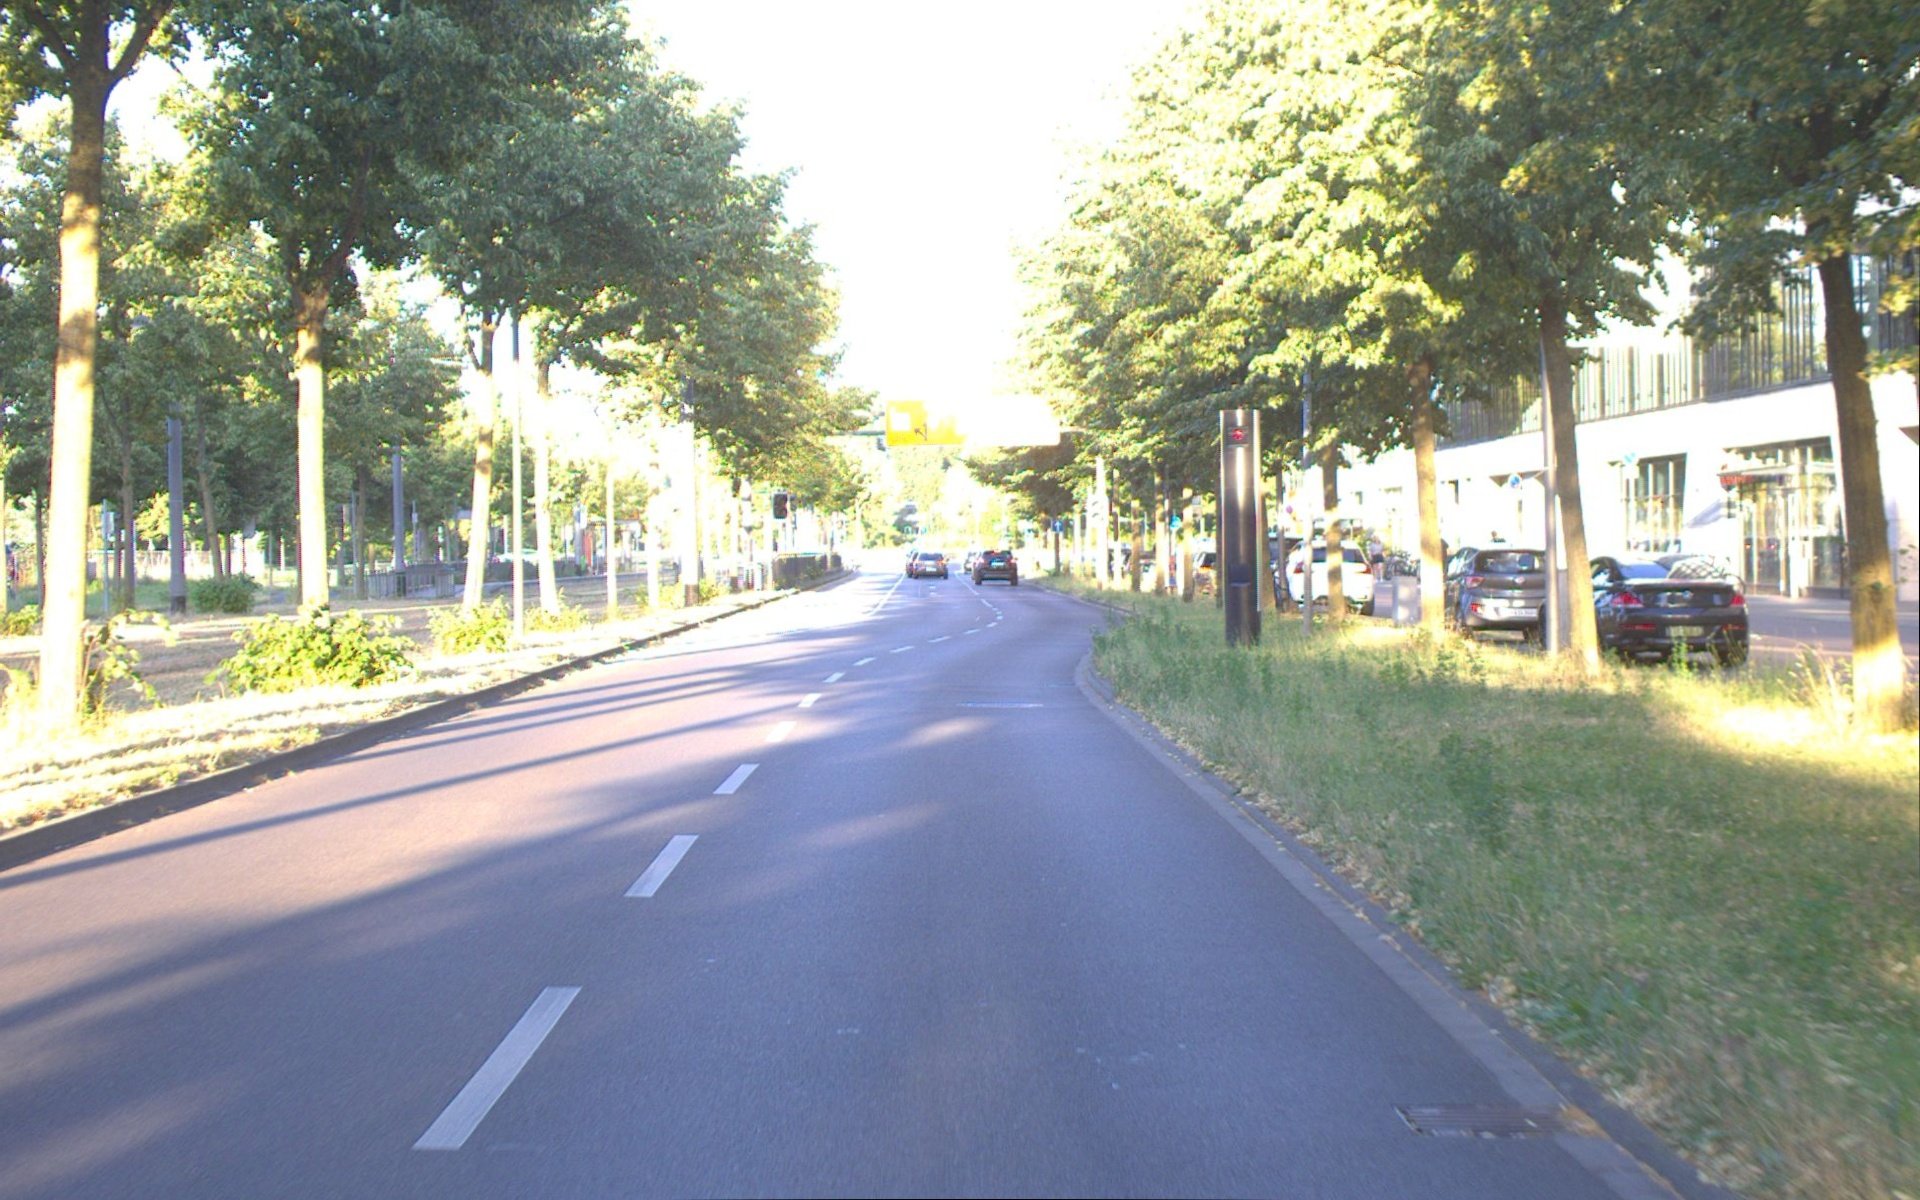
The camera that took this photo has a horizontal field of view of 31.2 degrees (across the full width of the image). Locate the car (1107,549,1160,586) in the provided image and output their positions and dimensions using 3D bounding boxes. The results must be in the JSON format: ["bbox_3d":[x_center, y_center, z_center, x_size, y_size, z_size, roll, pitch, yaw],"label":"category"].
[{"bbox_3d":[7.162,-1.351,142.302,1.777,1.467,4.289,-1,1,-2],"label":"car"}]

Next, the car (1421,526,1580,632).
[{"bbox_3d":[8.213,-0.340,52.536,1.709,1.510,3.759,1,1,-1],"label":"car"}]

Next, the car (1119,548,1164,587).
[{"bbox_3d":[7.144,-1.289,135.595,1.575,1.467,3.881,-1,1,0],"label":"car"}]

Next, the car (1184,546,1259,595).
[{"bbox_3d":[7.775,-0.900,102.529,1.869,1.406,4.646,-1,1,0],"label":"car"}]

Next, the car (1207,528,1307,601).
[{"bbox_3d":[7.727,-0.937,89.767,1.993,1.845,4.666,-1,1,-2],"label":"car"}]

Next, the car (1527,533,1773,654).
[{"bbox_3d":[8.391,-0.122,42.239,1.852,1.362,4.835,-1,1,-2],"label":"car"}]

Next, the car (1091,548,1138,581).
[{"bbox_3d":[7.085,-1.620,157.721,1.756,1.461,4.159,-1,1,-3],"label":"car"}]

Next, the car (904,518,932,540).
[{"bbox_3d":[-2.897,-4.910,237.923,1.911,1.481,4.000,-1,1,-1],"label":"car"}]

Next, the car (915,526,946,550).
[{"bbox_3d":[-1.937,-4.015,223.123,1.911,1.481,4.000,-1,1,-1],"label":"car"}]

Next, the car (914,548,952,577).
[{"bbox_3d":[-1.405,-1.923,176.369,1.911,1.481,4.000,-1,1,-1],"label":"car"}]

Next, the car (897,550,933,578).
[{"bbox_3d":[-2.431,-1.935,185.901,1.911,1.481,4.000,-1,1,-1],"label":"car"}]

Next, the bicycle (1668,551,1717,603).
[{"bbox_3d":[15.027,-0.478,70.557,0.594,1.036,1.892,-1,1,0],"label":"bicycle"}]

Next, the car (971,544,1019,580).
[{"bbox_3d":[1.500,-1.641,147.621,1.911,1.481,4.000,0,1,-1],"label":"car"}]

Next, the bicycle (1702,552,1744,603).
[{"bbox_3d":[15.594,-0.465,70.285,0.470,1.036,1.807,-1,1,0],"label":"bicycle"}]

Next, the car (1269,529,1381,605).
[{"bbox_3d":[8.159,-0.748,77.280,1.993,1.637,4.878,-1,1,0],"label":"car"}]

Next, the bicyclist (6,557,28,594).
[{"bbox_3d":[-37.294,-0.972,135.966,0.619,1.451,0.937,-1,1,-2],"label":"bicyclist"}]
